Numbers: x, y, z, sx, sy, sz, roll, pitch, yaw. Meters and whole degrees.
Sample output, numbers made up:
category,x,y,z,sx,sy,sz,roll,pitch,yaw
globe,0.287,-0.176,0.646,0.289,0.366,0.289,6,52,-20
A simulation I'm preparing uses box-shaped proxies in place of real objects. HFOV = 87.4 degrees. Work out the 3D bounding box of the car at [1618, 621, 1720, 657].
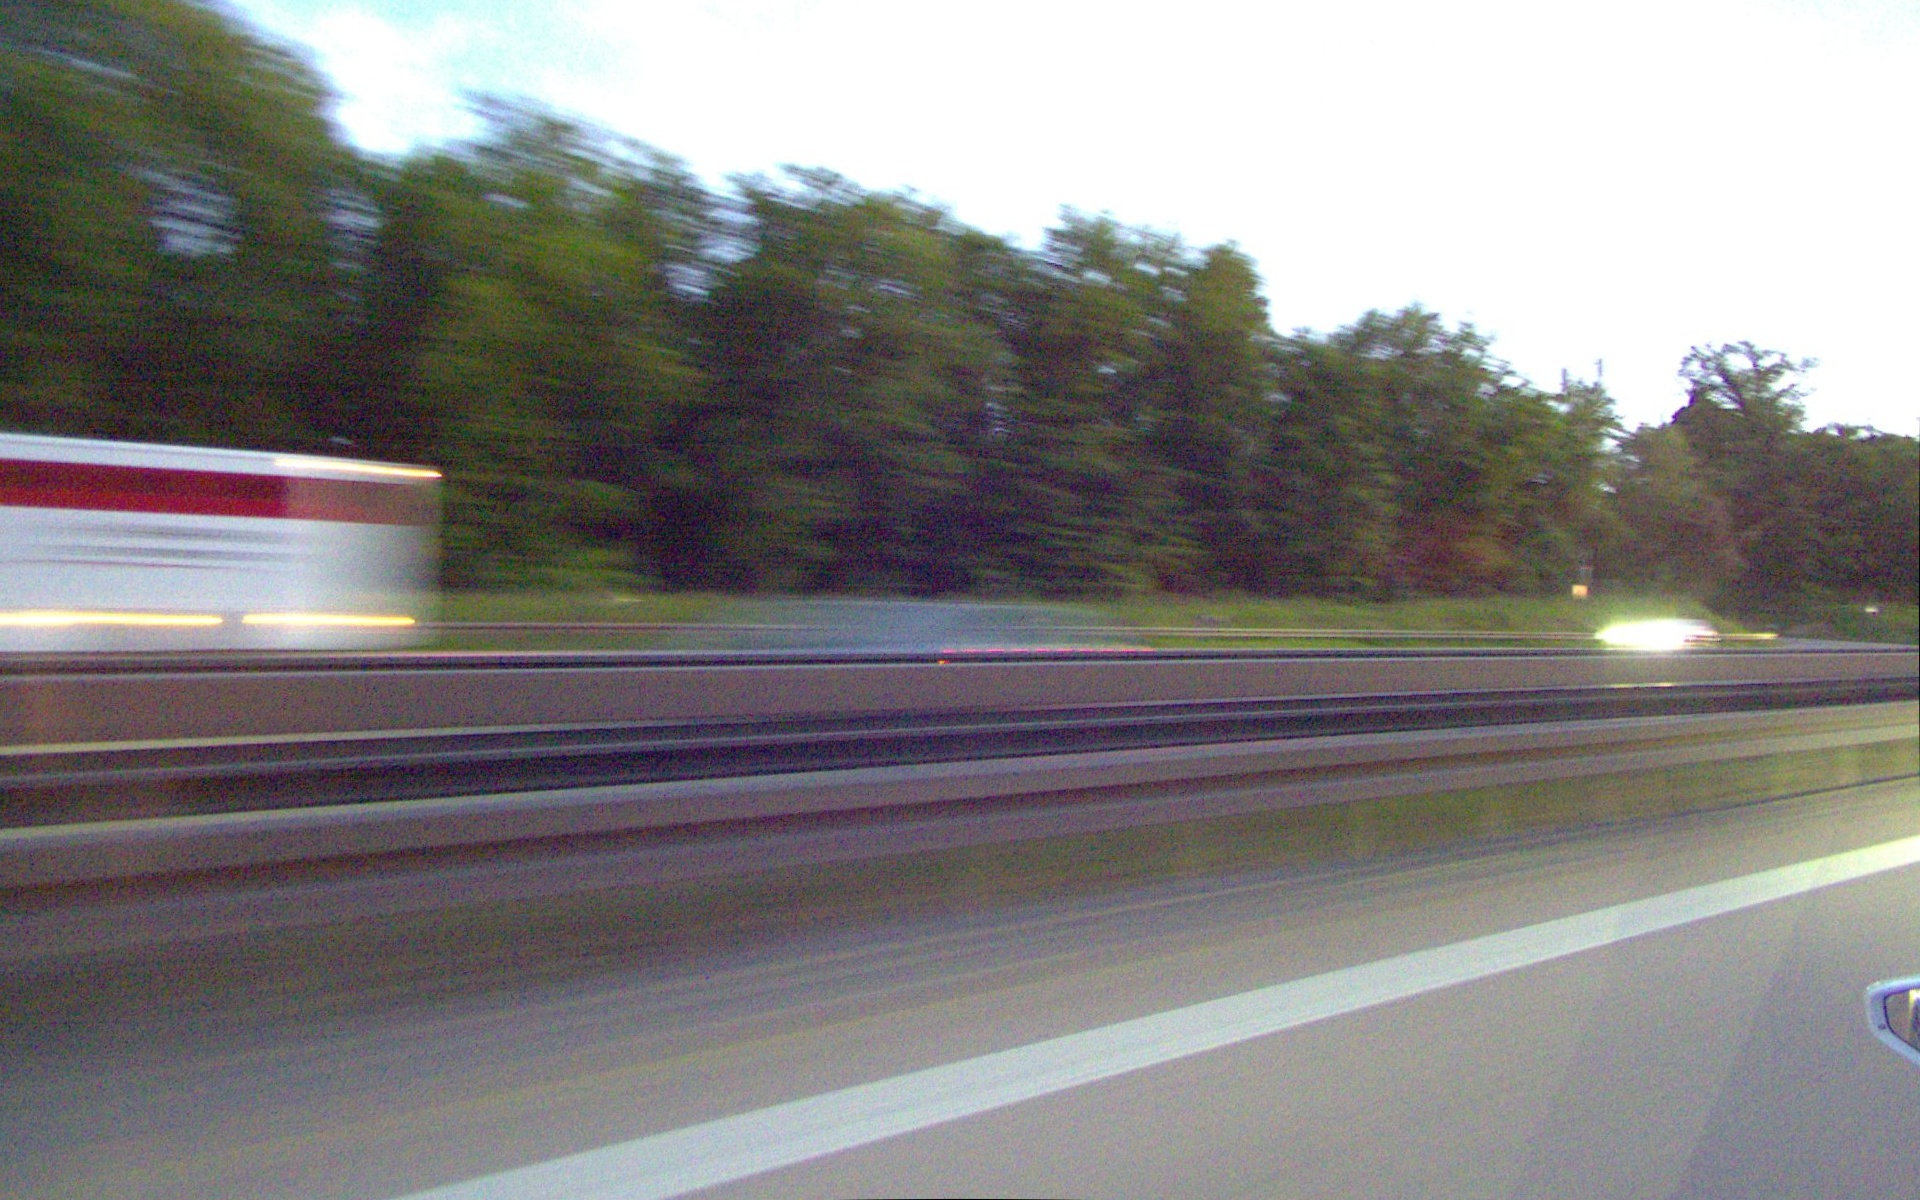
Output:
category,x,y,z,sx,sy,sz,roll,pitch,yaw
car,31.240,1.709,44.224,4.538,1.516,1.843,1,0,-28

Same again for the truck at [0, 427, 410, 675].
category,x,y,z,sx,sy,sz,roll,pitch,yaw
truck,-15.808,-0.789,17.917,10.417,4.064,2.633,1,0,-29

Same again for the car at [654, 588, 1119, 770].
category,x,y,z,sx,sy,sz,roll,pitch,yaw
car,-0.709,0.749,11.089,4.769,1.621,1.982,1,0,-32
